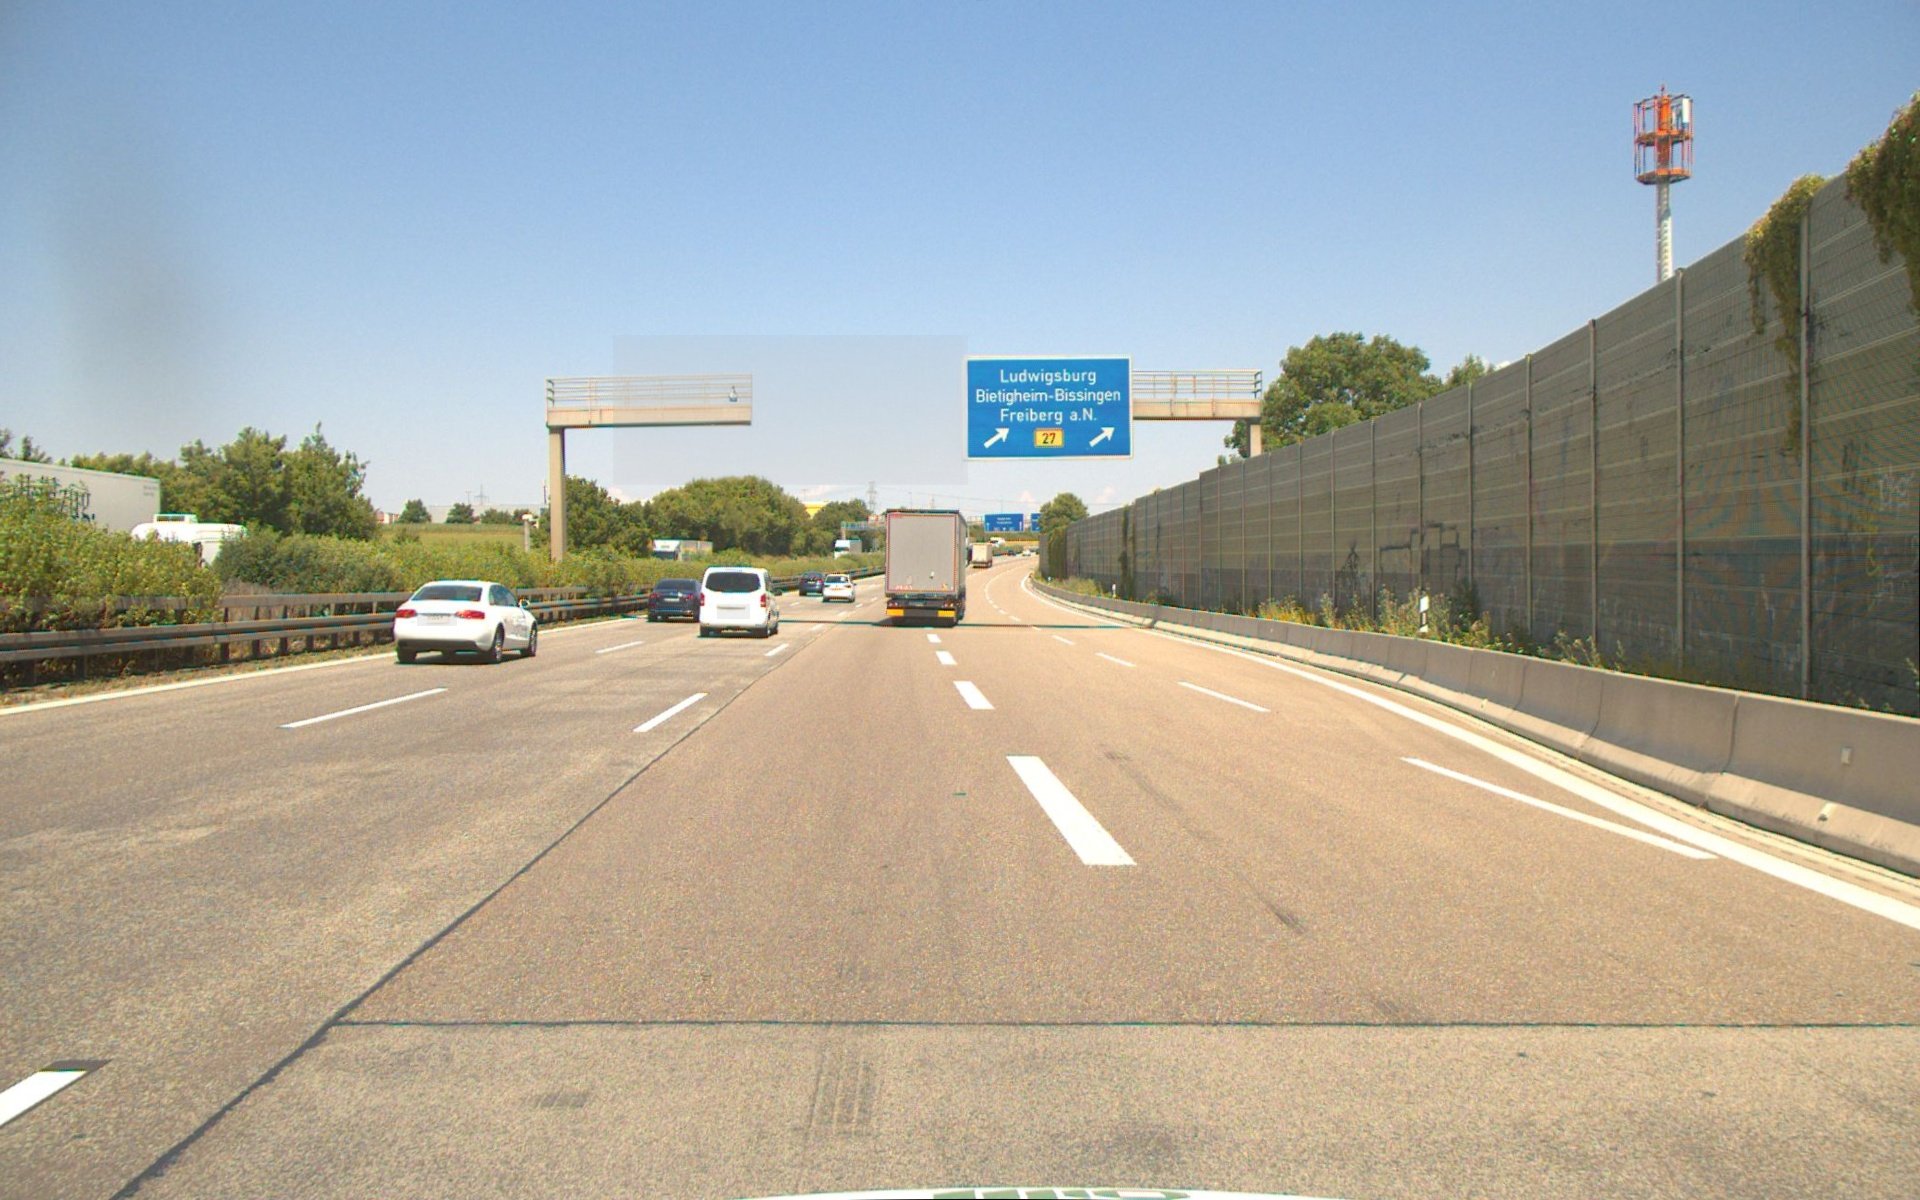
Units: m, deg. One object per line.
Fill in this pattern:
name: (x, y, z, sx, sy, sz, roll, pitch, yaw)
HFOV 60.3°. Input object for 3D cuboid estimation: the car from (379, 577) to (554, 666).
car: (-8.977, 0.331, 30.550, 1.839, 1.465, 5.124, 1, 1, -2)

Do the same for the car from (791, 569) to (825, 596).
car: (-10.589, -1.249, 115.645, 1.865, 1.718, 4.633, 0, 2, 1)

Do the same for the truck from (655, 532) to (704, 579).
truck: (-25.567, -4.010, 151.111, 2.941, 4.036, 10.318, 1, 1, -2)

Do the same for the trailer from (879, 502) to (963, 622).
trailer: (-1.457, -1.293, 62.567, 2.868, 4.086, 12.035, 0, 0, -1)

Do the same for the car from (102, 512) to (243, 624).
car: (-20.908, -0.828, 44.091, 1.954, 2.813, 3.998, 1, 0, -3)

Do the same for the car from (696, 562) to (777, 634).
car: (-6.170, -0.050, 46.115, 1.892, 1.884, 4.689, 0, 0, -4)

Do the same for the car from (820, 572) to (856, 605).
car: (-7.246, -0.661, 98.312, 1.866, 1.884, 4.630, 0, 0, -1)

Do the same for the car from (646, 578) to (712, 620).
car: (-9.850, -0.030, 58.274, 1.722, 1.433, 5.036, 0, 0, -4)

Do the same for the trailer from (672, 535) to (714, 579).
trailer: (-25.831, -4.144, 160.442, 2.864, 4.036, 8.656, 1, 1, -2)

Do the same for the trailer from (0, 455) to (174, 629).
trailer: (-24.602, -1.448, 42.540, 2.553, 4.205, 14.222, 1, 0, -3)
